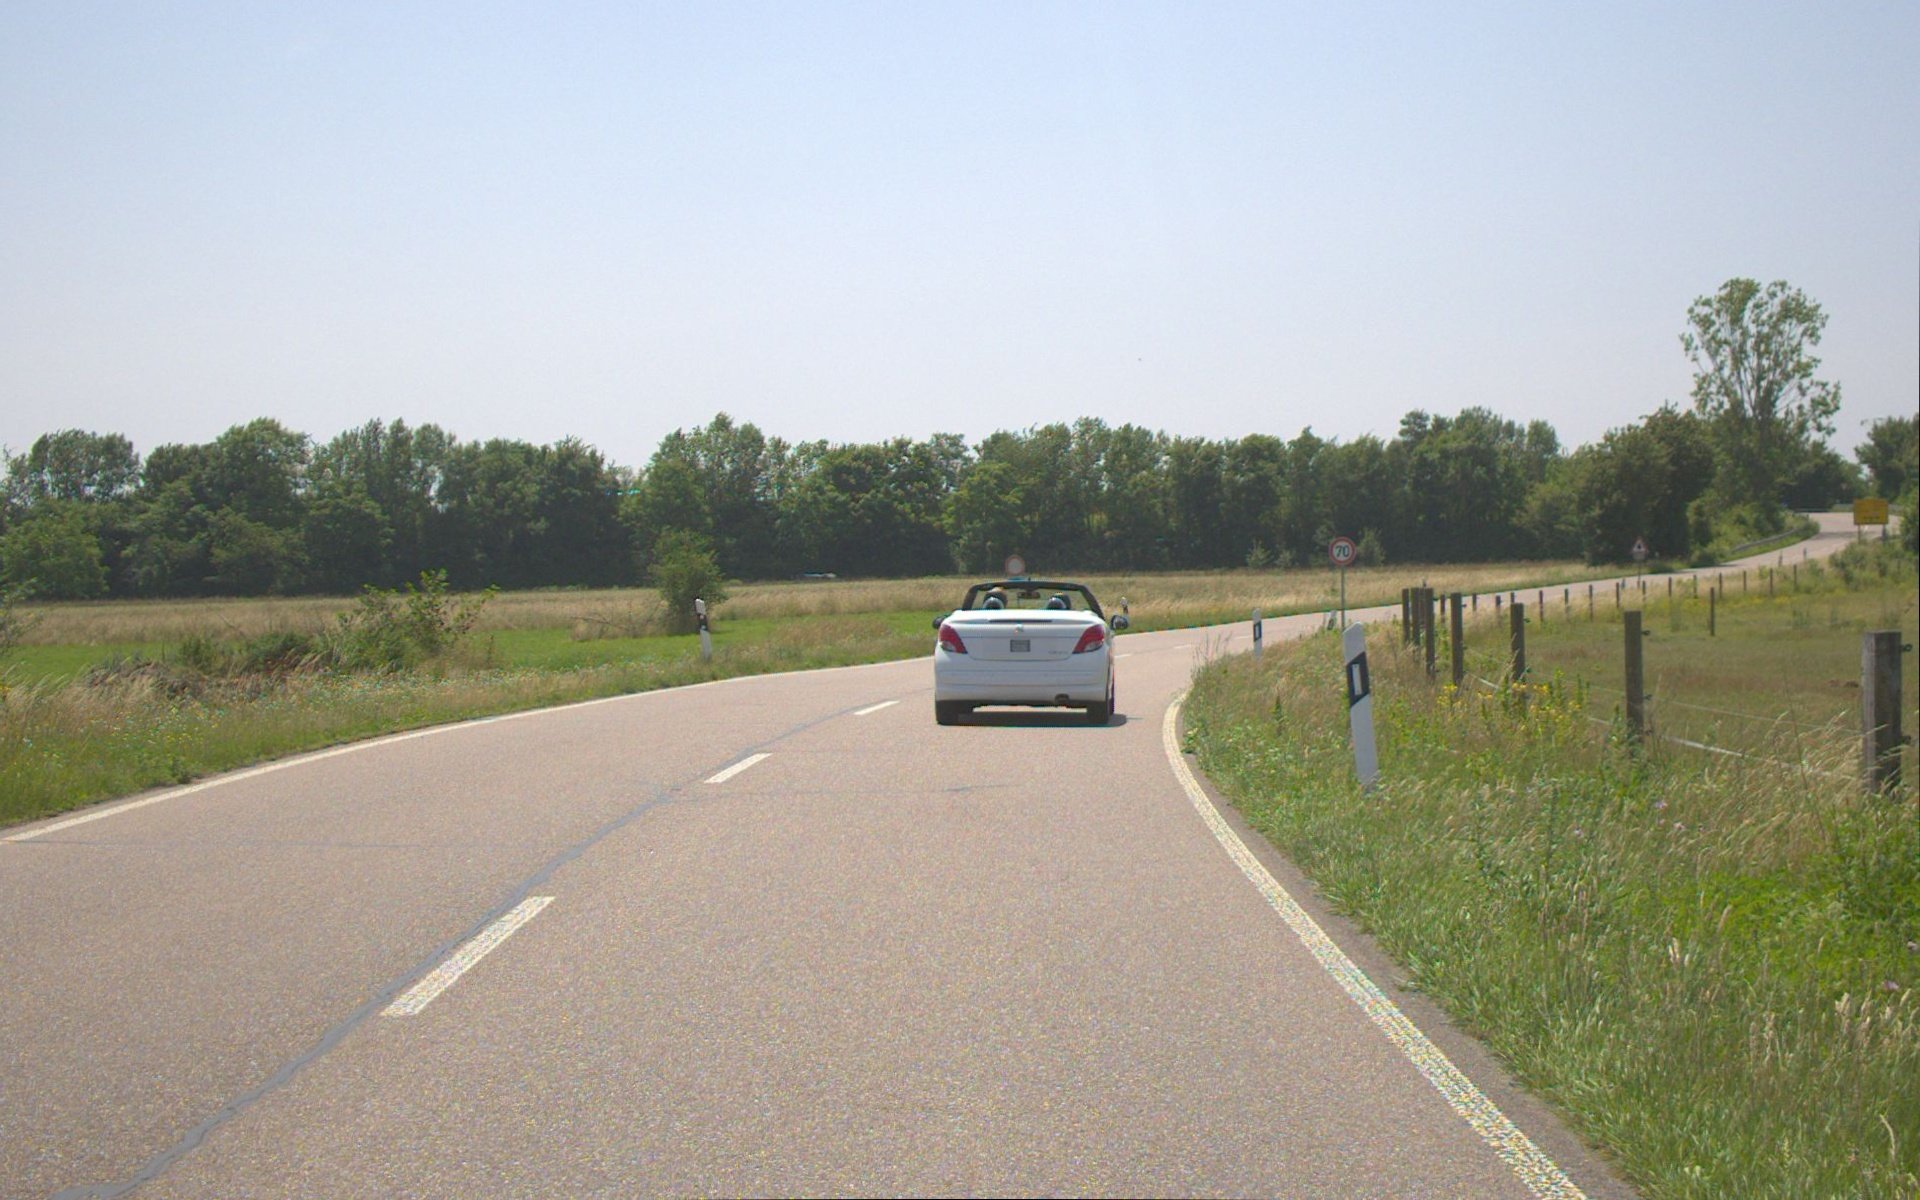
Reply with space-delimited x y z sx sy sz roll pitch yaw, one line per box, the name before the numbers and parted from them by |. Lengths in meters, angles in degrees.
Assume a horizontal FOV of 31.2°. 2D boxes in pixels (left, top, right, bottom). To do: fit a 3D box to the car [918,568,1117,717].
car | 0.634 0.391 34.318 1.851 1.374 4.000 1 0 3
